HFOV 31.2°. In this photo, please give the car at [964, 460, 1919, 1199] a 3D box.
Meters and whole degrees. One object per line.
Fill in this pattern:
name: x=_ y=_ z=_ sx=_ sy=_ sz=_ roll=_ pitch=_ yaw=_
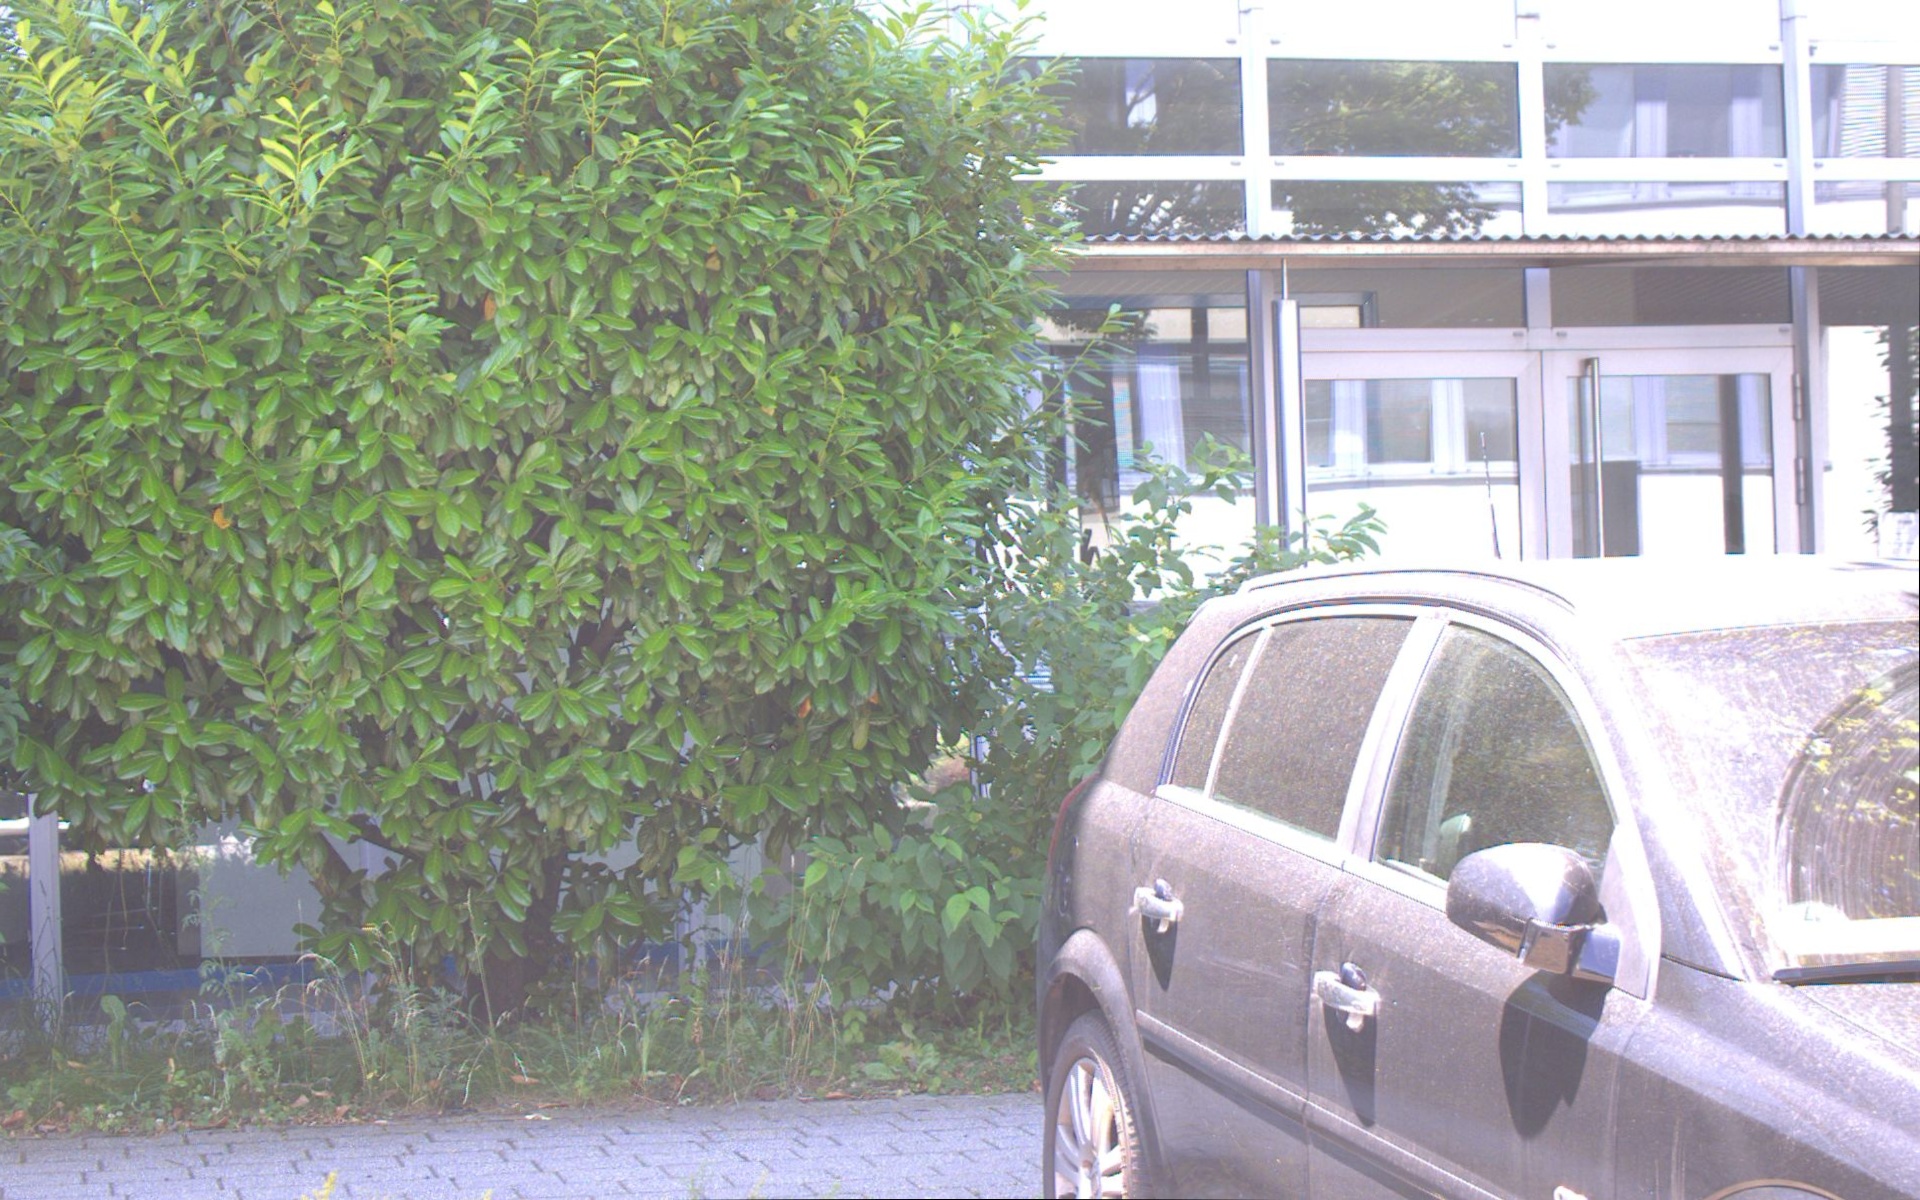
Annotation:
car: x=1.384 y=0.632 z=5.110 sx=1.757 sy=1.544 sz=4.566 roll=0 pitch=0 yaw=-13
